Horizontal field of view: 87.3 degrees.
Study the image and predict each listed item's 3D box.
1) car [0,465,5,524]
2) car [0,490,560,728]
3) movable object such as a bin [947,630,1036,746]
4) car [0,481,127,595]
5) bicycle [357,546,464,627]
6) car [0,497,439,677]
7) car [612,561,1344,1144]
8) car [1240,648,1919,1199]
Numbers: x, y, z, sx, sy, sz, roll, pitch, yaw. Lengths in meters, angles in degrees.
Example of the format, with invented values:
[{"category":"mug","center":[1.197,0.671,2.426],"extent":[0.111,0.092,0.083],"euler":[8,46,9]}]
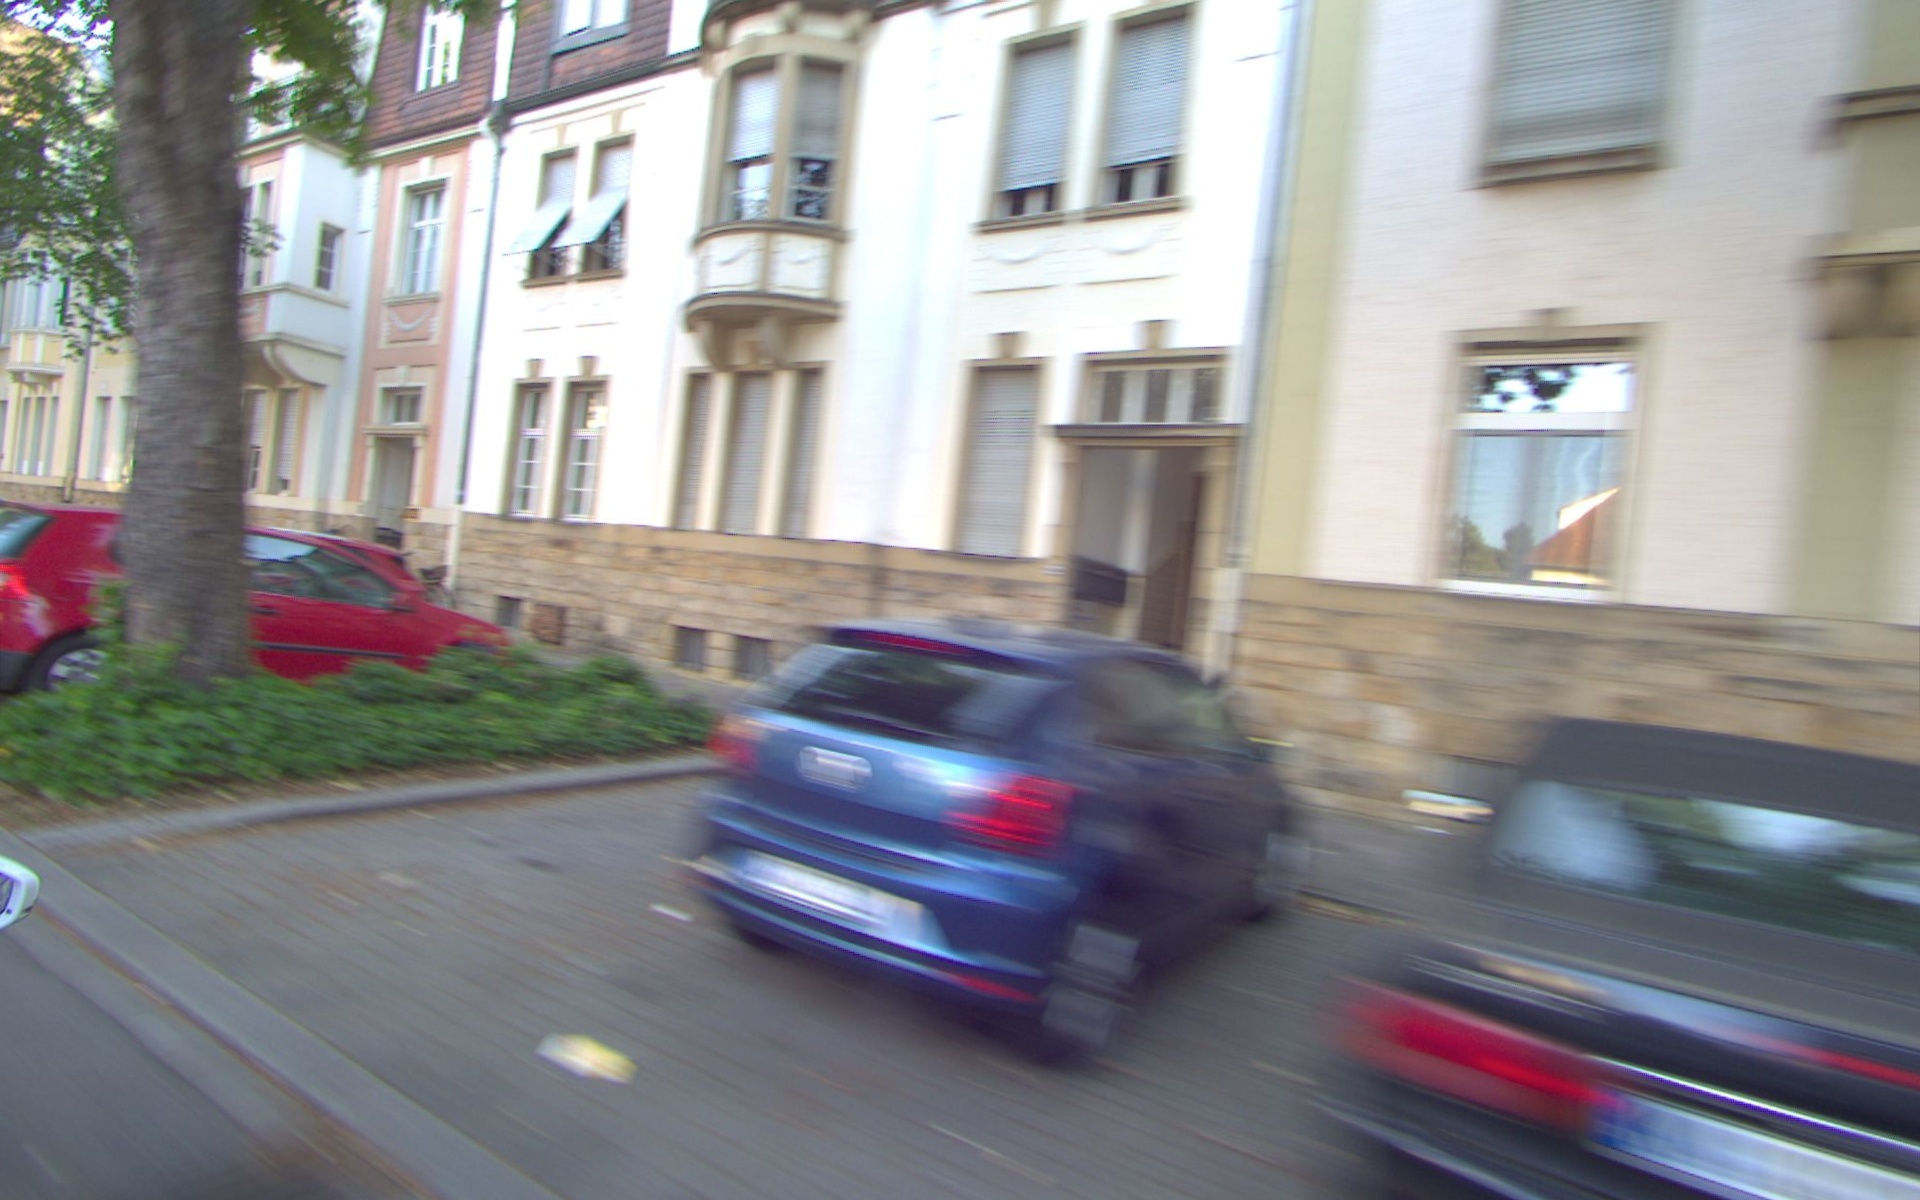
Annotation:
[{"category":"car","center":[-19.424,-1.703,17.071],"extent":[1.873,1.920,4.225],"euler":[7,1,30]},{"category":"car","center":[-5.762,0.073,8.318],"extent":[1.822,1.494,4.190],"euler":[7,1,34]},{"category":"movable object such as a bin","center":[0.328,0.867,10.161],"extent":[0.532,1.064,0.700],"euler":[7,4,31]},{"category":"car","center":[-15.317,-1.076,14.935],"extent":[1.846,1.591,4.113],"euler":[7,0,32]},{"category":"bicycle","center":[-8.674,-0.222,15.841],"extent":[2.011,1.070,0.474],"euler":[7,2,31]},{"category":"car","center":[-7.733,-0.112,9.697],"extent":[1.847,1.437,4.411],"euler":[7,1,34]},{"category":"car","center":[0.500,0.838,4.767],"extent":[1.536,1.501,3.797],"euler":[7,-1,34]},{"category":"car","center":[2.323,1.059,3.124],"extent":[1.787,1.455,3.799],"euler":[7,-1,32]}]
